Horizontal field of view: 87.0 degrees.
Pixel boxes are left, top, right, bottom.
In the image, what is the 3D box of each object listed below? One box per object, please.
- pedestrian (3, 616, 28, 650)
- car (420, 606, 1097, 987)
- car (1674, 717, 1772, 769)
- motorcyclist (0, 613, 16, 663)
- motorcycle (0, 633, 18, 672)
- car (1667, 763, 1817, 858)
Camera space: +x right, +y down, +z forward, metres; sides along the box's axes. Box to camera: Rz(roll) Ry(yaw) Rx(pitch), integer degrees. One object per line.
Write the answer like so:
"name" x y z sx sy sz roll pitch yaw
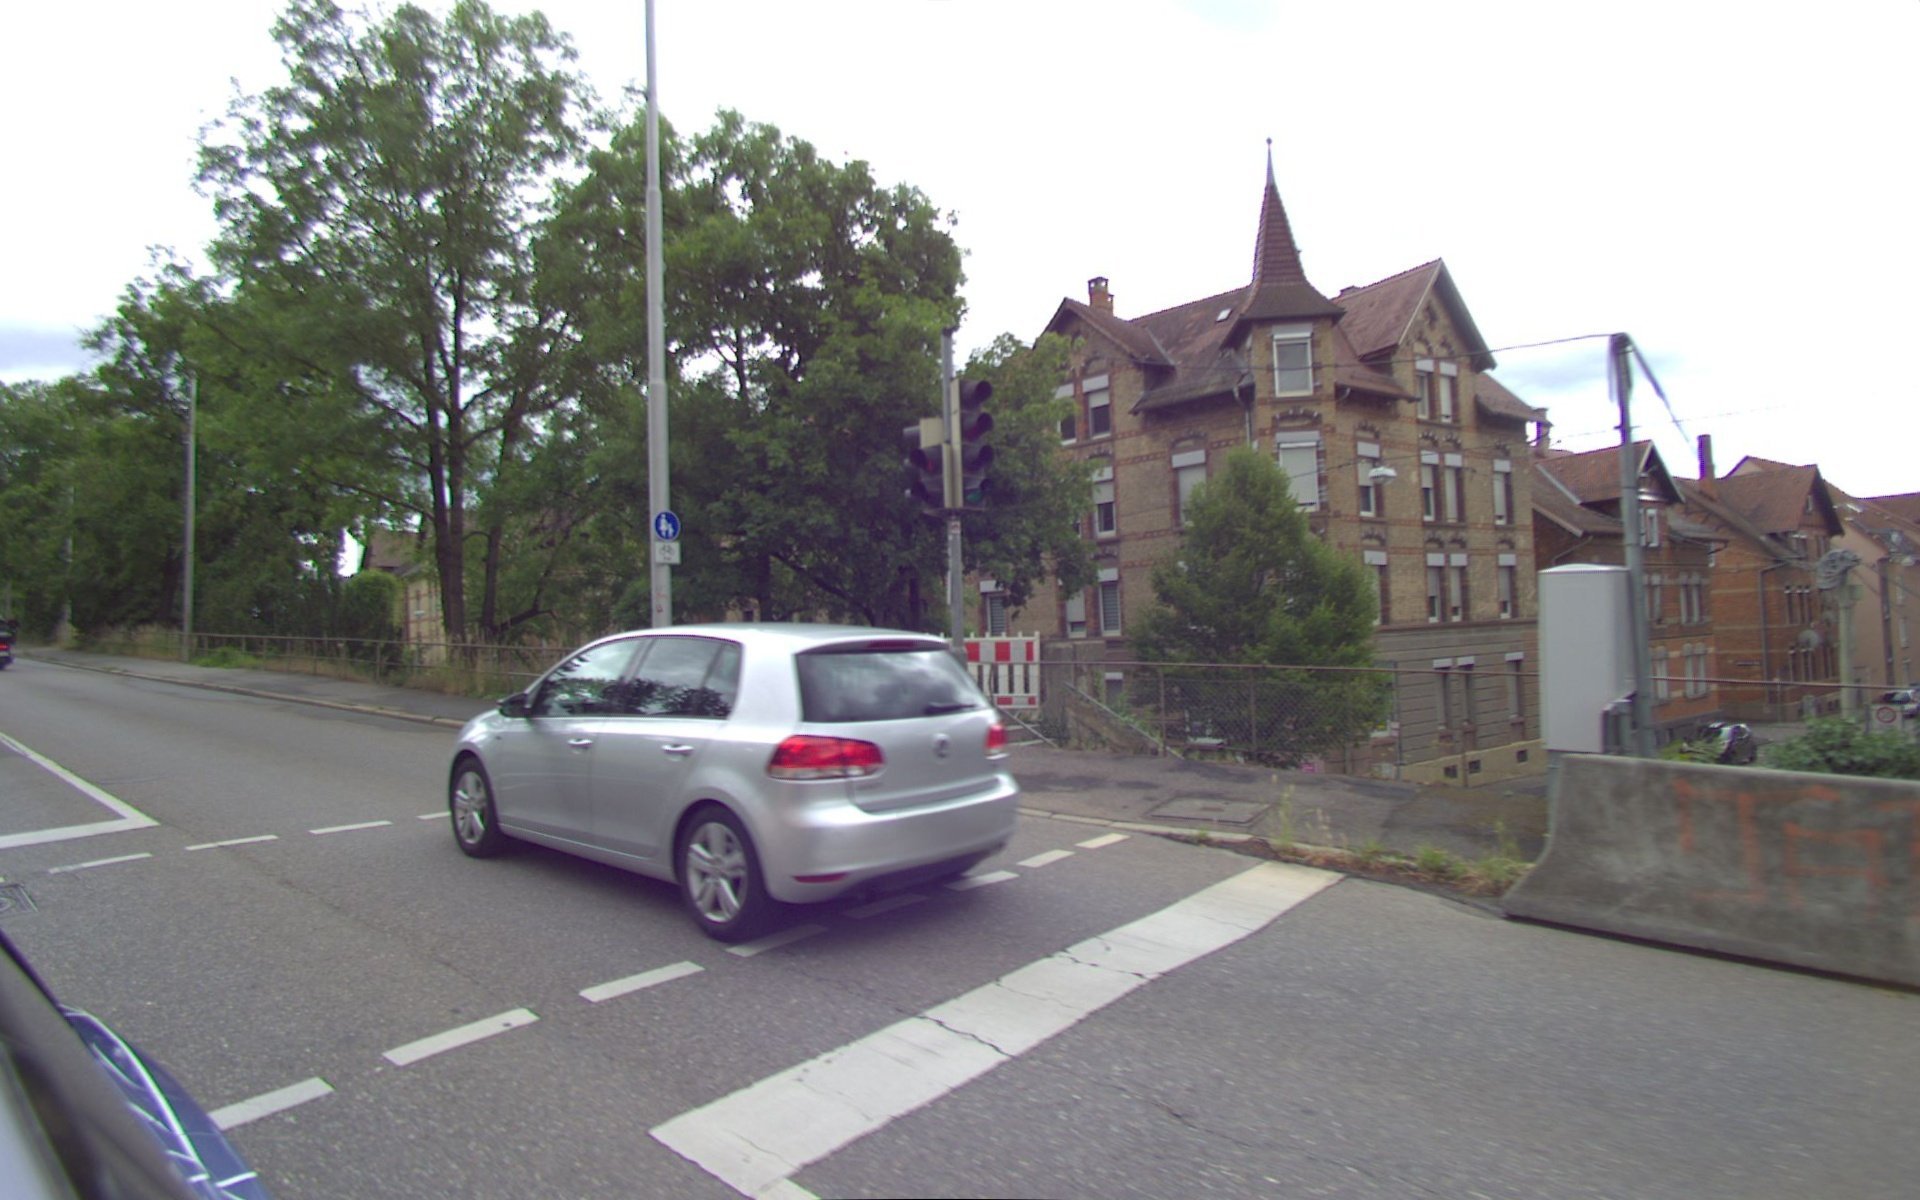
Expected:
"pedestrian" -52.164 1.825 55.878 1.208 1.787 0.781 -2 1 39
"car" -1.412 0.821 5.912 4.157 1.456 1.702 -2 -3 41
"car" 27.768 5.149 36.785 3.935 1.522 1.804 1 -4 -38
"motorcyclist" -29.744 1.169 31.250 0.668 1.528 0.777 -2 -2 41
"motorcycle" -29.761 1.615 31.253 2.056 1.154 0.777 -2 -2 41
"car" 17.743 4.671 22.903 3.937 1.522 1.803 1 -6 -40
